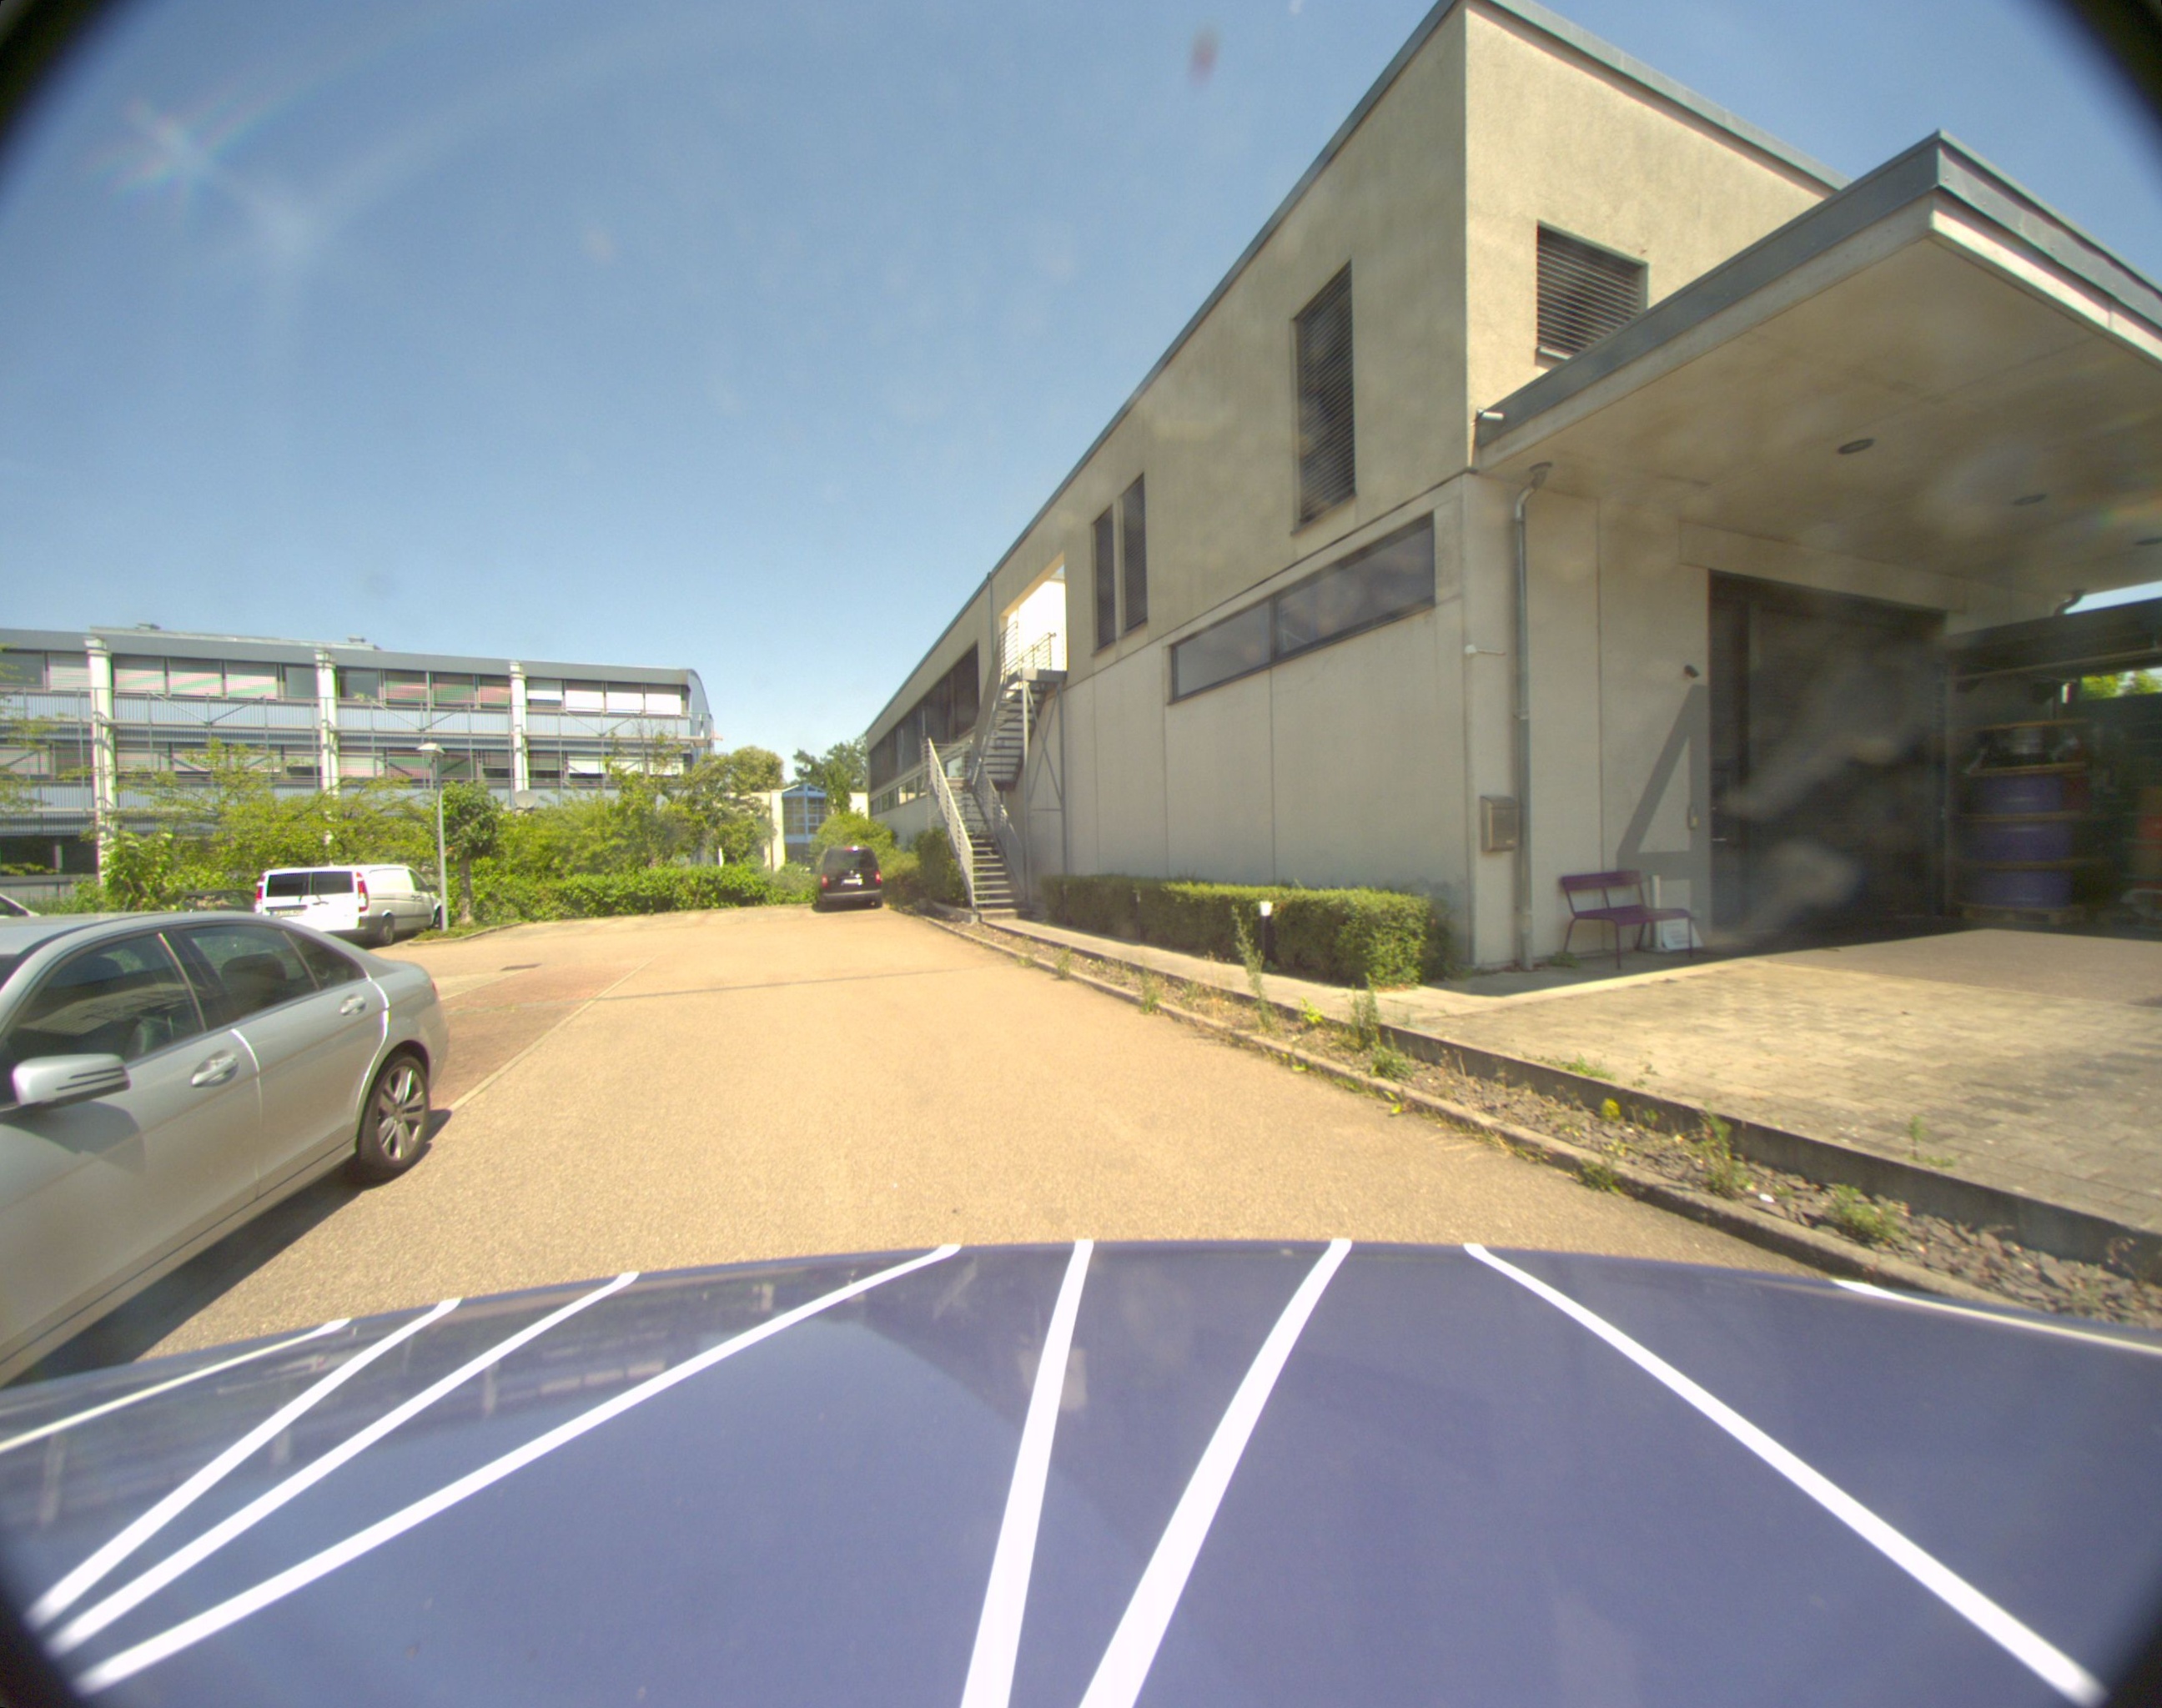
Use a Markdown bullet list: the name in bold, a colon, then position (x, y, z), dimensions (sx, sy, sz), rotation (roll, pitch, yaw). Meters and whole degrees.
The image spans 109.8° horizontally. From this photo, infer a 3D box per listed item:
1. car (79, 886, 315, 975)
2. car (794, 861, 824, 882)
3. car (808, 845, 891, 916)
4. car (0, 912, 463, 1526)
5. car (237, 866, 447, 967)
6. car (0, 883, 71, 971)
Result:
- **car**: position (-19.830, 1.613, 17.350), dimensions (1.741, 1.475, 4.189), rotation (-3, 2, -23)
- **car**: position (-22.552, 1.417, 62.874), dimensions (1.839, 1.558, 3.991), rotation (-3, 2, -26)
- **car**: position (-7.112, 0.719, 23.079), dimensions (1.870, 1.849, 4.220), rotation (-3, 2, -23)
- **car**: position (-3.854, 1.087, 2.142), dimensions (1.806, 1.390, 4.412), rotation (-3, 1, -19)
- **car**: position (-17.044, 1.305, 17.887), dimensions (1.870, 1.849, 4.668), rotation (-3, 2, -23)
- **car**: position (-23.935, 1.665, 15.304), dimensions (1.858, 1.845, 4.926), rotation (-3, 2, -21)
